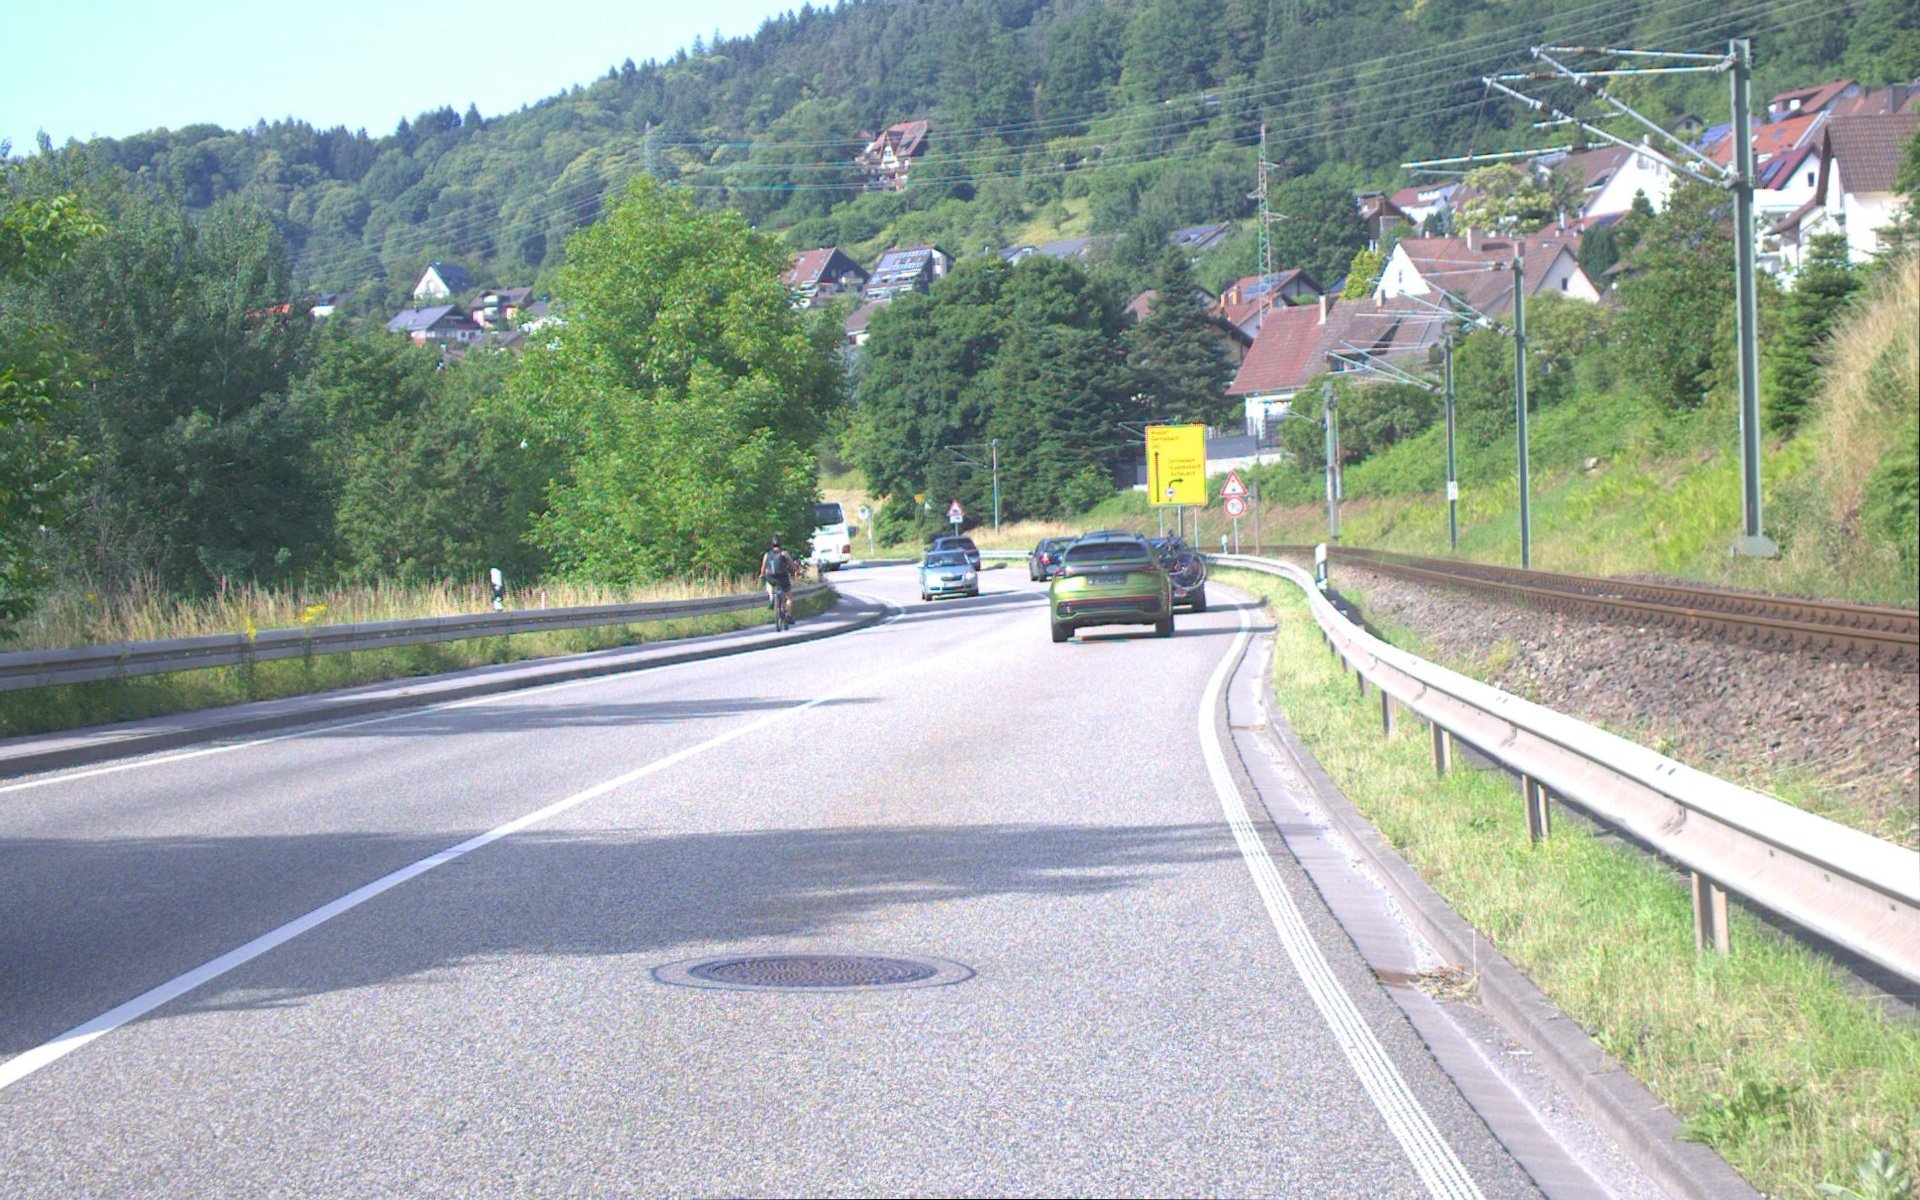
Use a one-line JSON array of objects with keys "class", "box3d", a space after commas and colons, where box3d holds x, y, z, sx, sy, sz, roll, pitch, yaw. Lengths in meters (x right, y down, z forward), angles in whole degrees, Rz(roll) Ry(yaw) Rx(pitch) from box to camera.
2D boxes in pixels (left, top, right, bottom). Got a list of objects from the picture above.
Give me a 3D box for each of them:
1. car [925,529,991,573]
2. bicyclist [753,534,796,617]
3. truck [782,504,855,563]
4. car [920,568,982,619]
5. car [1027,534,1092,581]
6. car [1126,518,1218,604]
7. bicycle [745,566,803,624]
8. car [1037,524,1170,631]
[{"class": "car", "box3d": [-0.109, -2.129, 148.646, 2.063, 1.805, 4.001, -3, 1, -10]}, {"class": "bicyclist", "box3d": [-3.569, -0.481, 66.215, 0.557, 1.581, 1.035, 0, 2, 13]}, {"class": "truck", "box3d": [-7.477, -3.492, 181.070, 2.711, 3.073, 6.110, 0, 1, -13]}, {"class": "car", "box3d": [-0.254, -0.213, 105.247, 1.578, 1.474, 4.000, 1, 1, 4]}, {"class": "car", "box3d": [3.330, -1.441, 115.986, 1.848, 1.521, 3.663, -1, 1, -3]}, {"class": "car", "box3d": [3.987, -0.756, 64.727, 1.667, 1.554, 4.000, 0, 1, 3]}, {"class": "bicycle", "box3d": [-3.566, -0.112, 66.138, 0.557, 1.042, 2.228, 0, 2, 12]}, {"class": "car", "box3d": [2.074, -0.346, 50.664, 1.714, 1.450, 4.000, -2, 1, 0]}]
